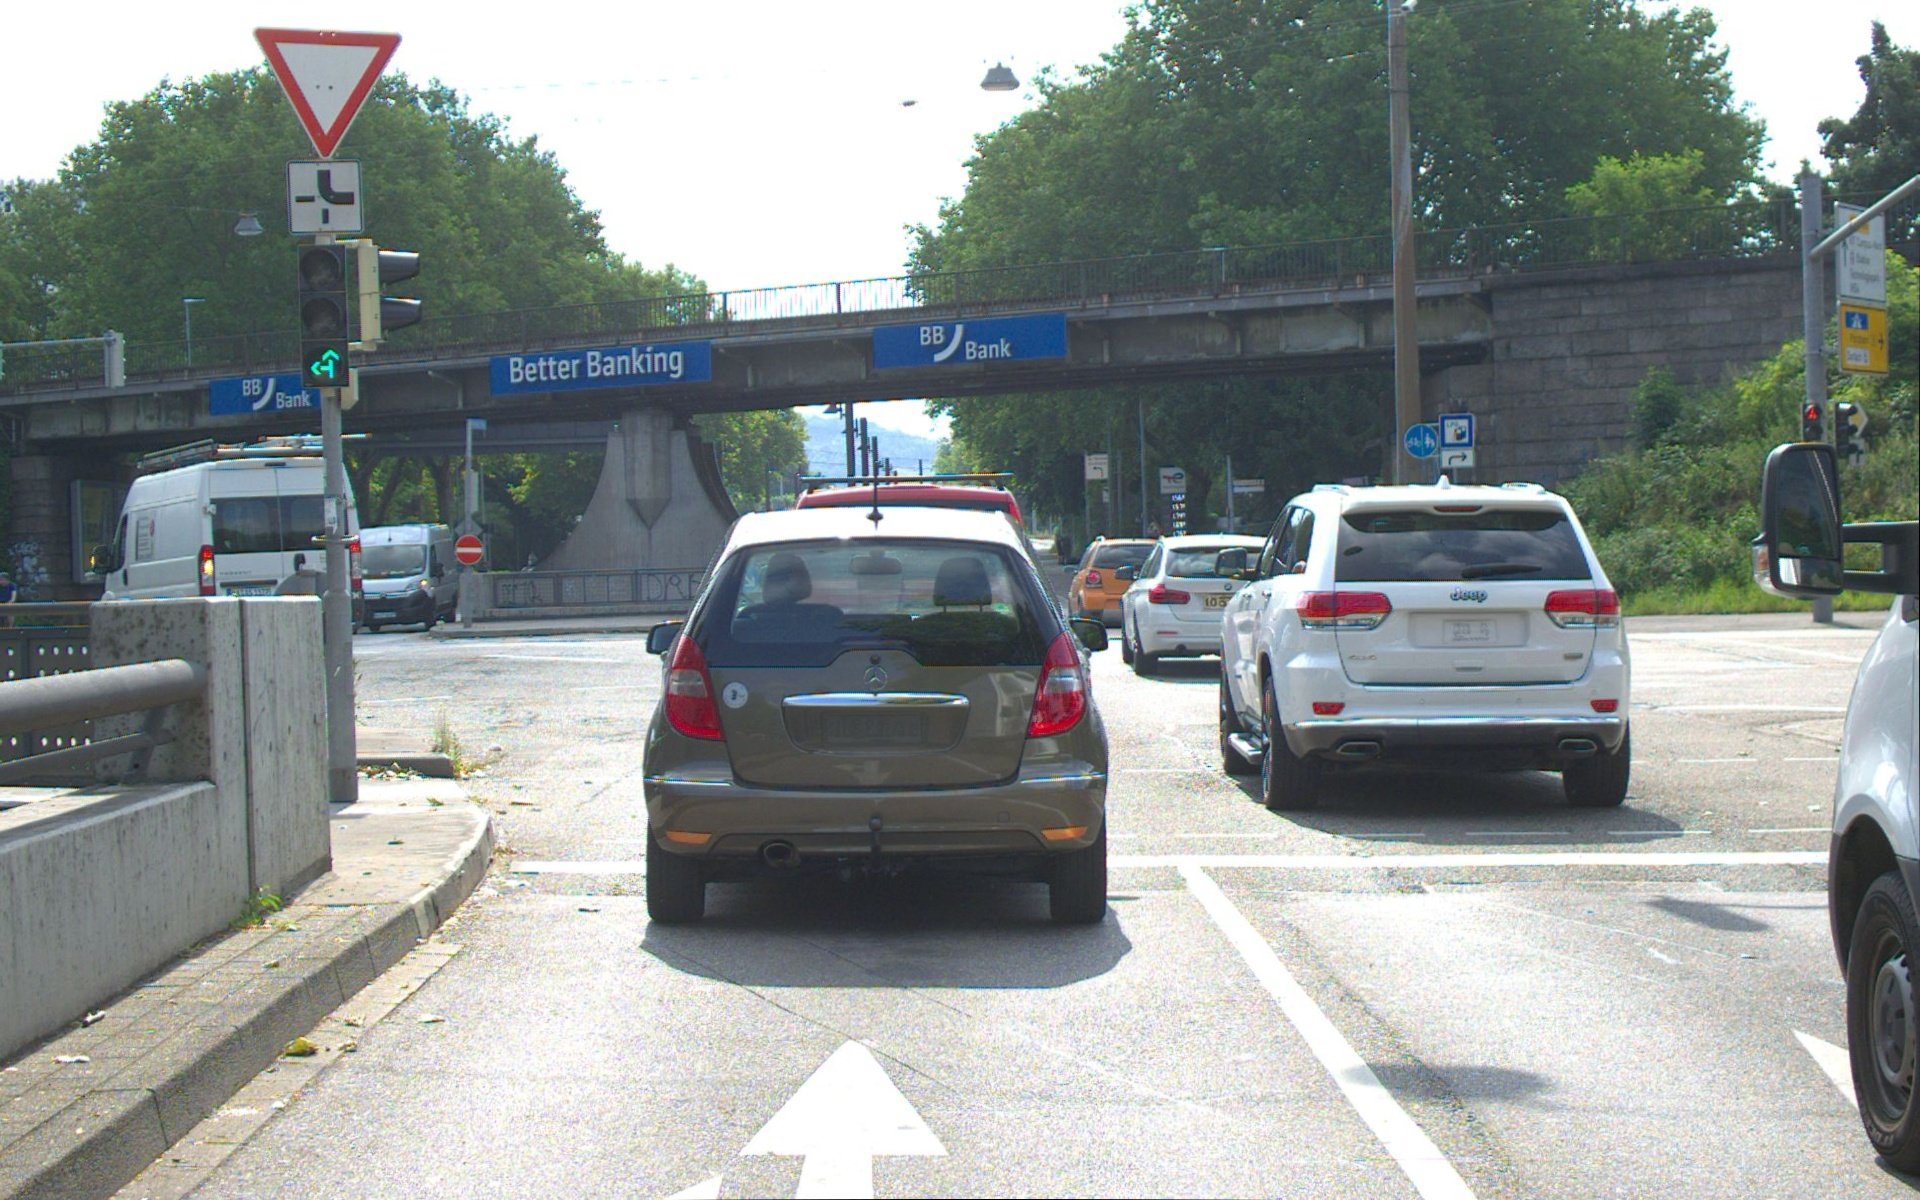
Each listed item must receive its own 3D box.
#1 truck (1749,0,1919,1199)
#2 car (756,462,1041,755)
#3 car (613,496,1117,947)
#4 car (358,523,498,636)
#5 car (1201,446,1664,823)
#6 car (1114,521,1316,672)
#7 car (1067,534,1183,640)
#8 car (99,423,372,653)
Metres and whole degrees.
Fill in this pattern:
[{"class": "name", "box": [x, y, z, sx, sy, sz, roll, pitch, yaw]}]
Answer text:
[{"class": "truck", "box": [3.099, -0.169, 5.377, 2.447, 3.110, 6.028, 0, 0, 1]}, {"class": "car", "box": [-0.435, 0.013, 25.960, 1.955, 2.010, 4.677, 0, 1, 0]}, {"class": "car", "box": [-0.346, 0.397, 14.168, 1.792, 1.603, 3.799, 0, 1, 0]}, {"class": "car", "box": [-12.421, -0.494, 80.631, 2.258, 2.518, 5.626, -1, 1, 1]}, {"class": "car", "box": [2.542, 0.130, 19.576, 1.995, 1.895, 4.509, 0, 1, 0]}, {"class": "car", "box": [2.651, -0.033, 36.412, 1.852, 1.516, 3.617, 0, 0, 0]}, {"class": "car", "box": [2.440, -0.181, 51.490, 1.544, 1.516, 3.617, 0, 0, 0]}, {"class": "car", "box": [-9.169, -0.721, 43.191, 2.197, 2.717, 4.932, 0, 0, -26]}]
